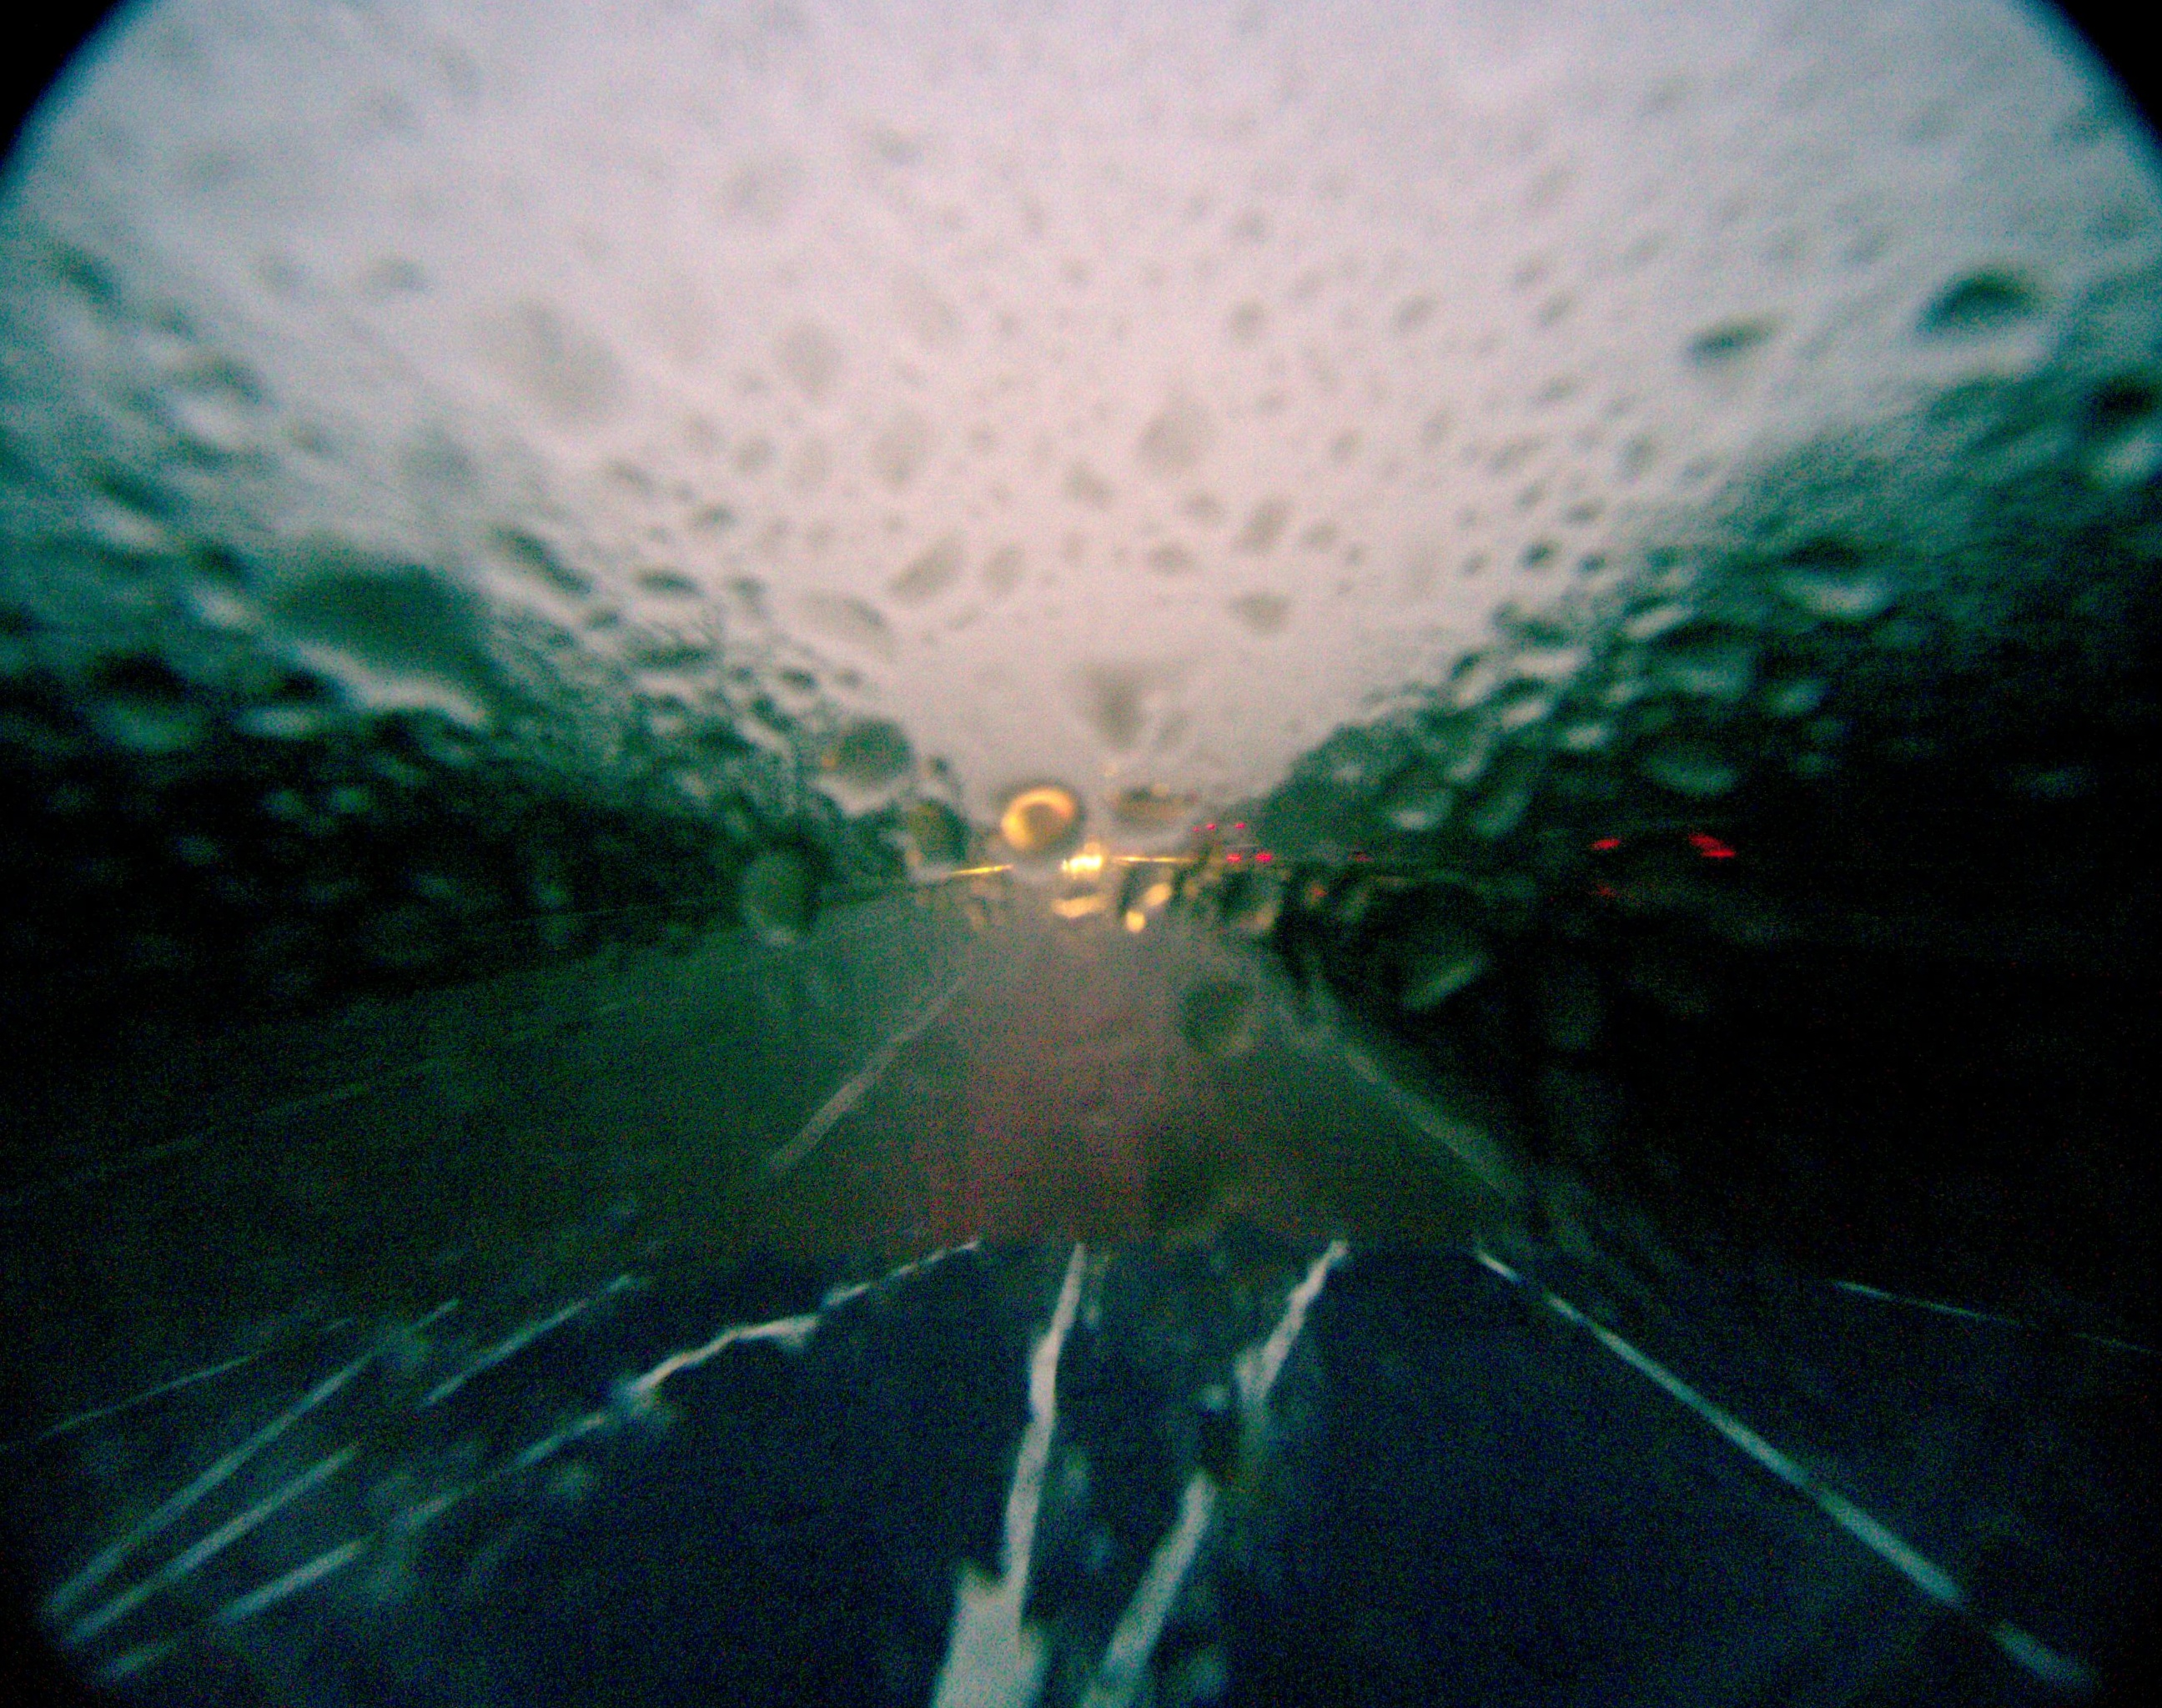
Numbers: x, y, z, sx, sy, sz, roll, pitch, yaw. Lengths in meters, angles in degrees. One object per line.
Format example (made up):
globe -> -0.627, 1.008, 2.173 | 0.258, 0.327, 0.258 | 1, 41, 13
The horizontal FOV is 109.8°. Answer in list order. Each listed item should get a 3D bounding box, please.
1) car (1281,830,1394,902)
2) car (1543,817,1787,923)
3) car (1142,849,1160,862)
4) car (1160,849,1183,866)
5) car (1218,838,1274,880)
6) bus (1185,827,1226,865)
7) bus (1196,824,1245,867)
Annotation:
car -> 7.868, 0.328, 23.791 | 1.856, 1.971, 4.599 | -2, 0, -1
car -> 11.411, 0.266, 15.254 | 1.859, 1.789, 4.000 | -2, 0, 2
car -> 8.923, 0.171, 97.125 | 1.835, 1.584, 4.152 | -2, 0, 0
car -> 8.697, 0.313, 73.254 | 1.803, 1.526, 4.270 | -2, 0, 2
car -> 8.646, 0.238, 40.249 | 1.998, 2.002, 4.729 | -2, 0, 2
bus -> 12.545, -0.780, 77.510 | 2.733, 3.534, 9.087 | -2, 0, 1
bus -> 12.409, -0.724, 68.323 | 2.745, 3.534, 9.155 | -2, 0, 1
